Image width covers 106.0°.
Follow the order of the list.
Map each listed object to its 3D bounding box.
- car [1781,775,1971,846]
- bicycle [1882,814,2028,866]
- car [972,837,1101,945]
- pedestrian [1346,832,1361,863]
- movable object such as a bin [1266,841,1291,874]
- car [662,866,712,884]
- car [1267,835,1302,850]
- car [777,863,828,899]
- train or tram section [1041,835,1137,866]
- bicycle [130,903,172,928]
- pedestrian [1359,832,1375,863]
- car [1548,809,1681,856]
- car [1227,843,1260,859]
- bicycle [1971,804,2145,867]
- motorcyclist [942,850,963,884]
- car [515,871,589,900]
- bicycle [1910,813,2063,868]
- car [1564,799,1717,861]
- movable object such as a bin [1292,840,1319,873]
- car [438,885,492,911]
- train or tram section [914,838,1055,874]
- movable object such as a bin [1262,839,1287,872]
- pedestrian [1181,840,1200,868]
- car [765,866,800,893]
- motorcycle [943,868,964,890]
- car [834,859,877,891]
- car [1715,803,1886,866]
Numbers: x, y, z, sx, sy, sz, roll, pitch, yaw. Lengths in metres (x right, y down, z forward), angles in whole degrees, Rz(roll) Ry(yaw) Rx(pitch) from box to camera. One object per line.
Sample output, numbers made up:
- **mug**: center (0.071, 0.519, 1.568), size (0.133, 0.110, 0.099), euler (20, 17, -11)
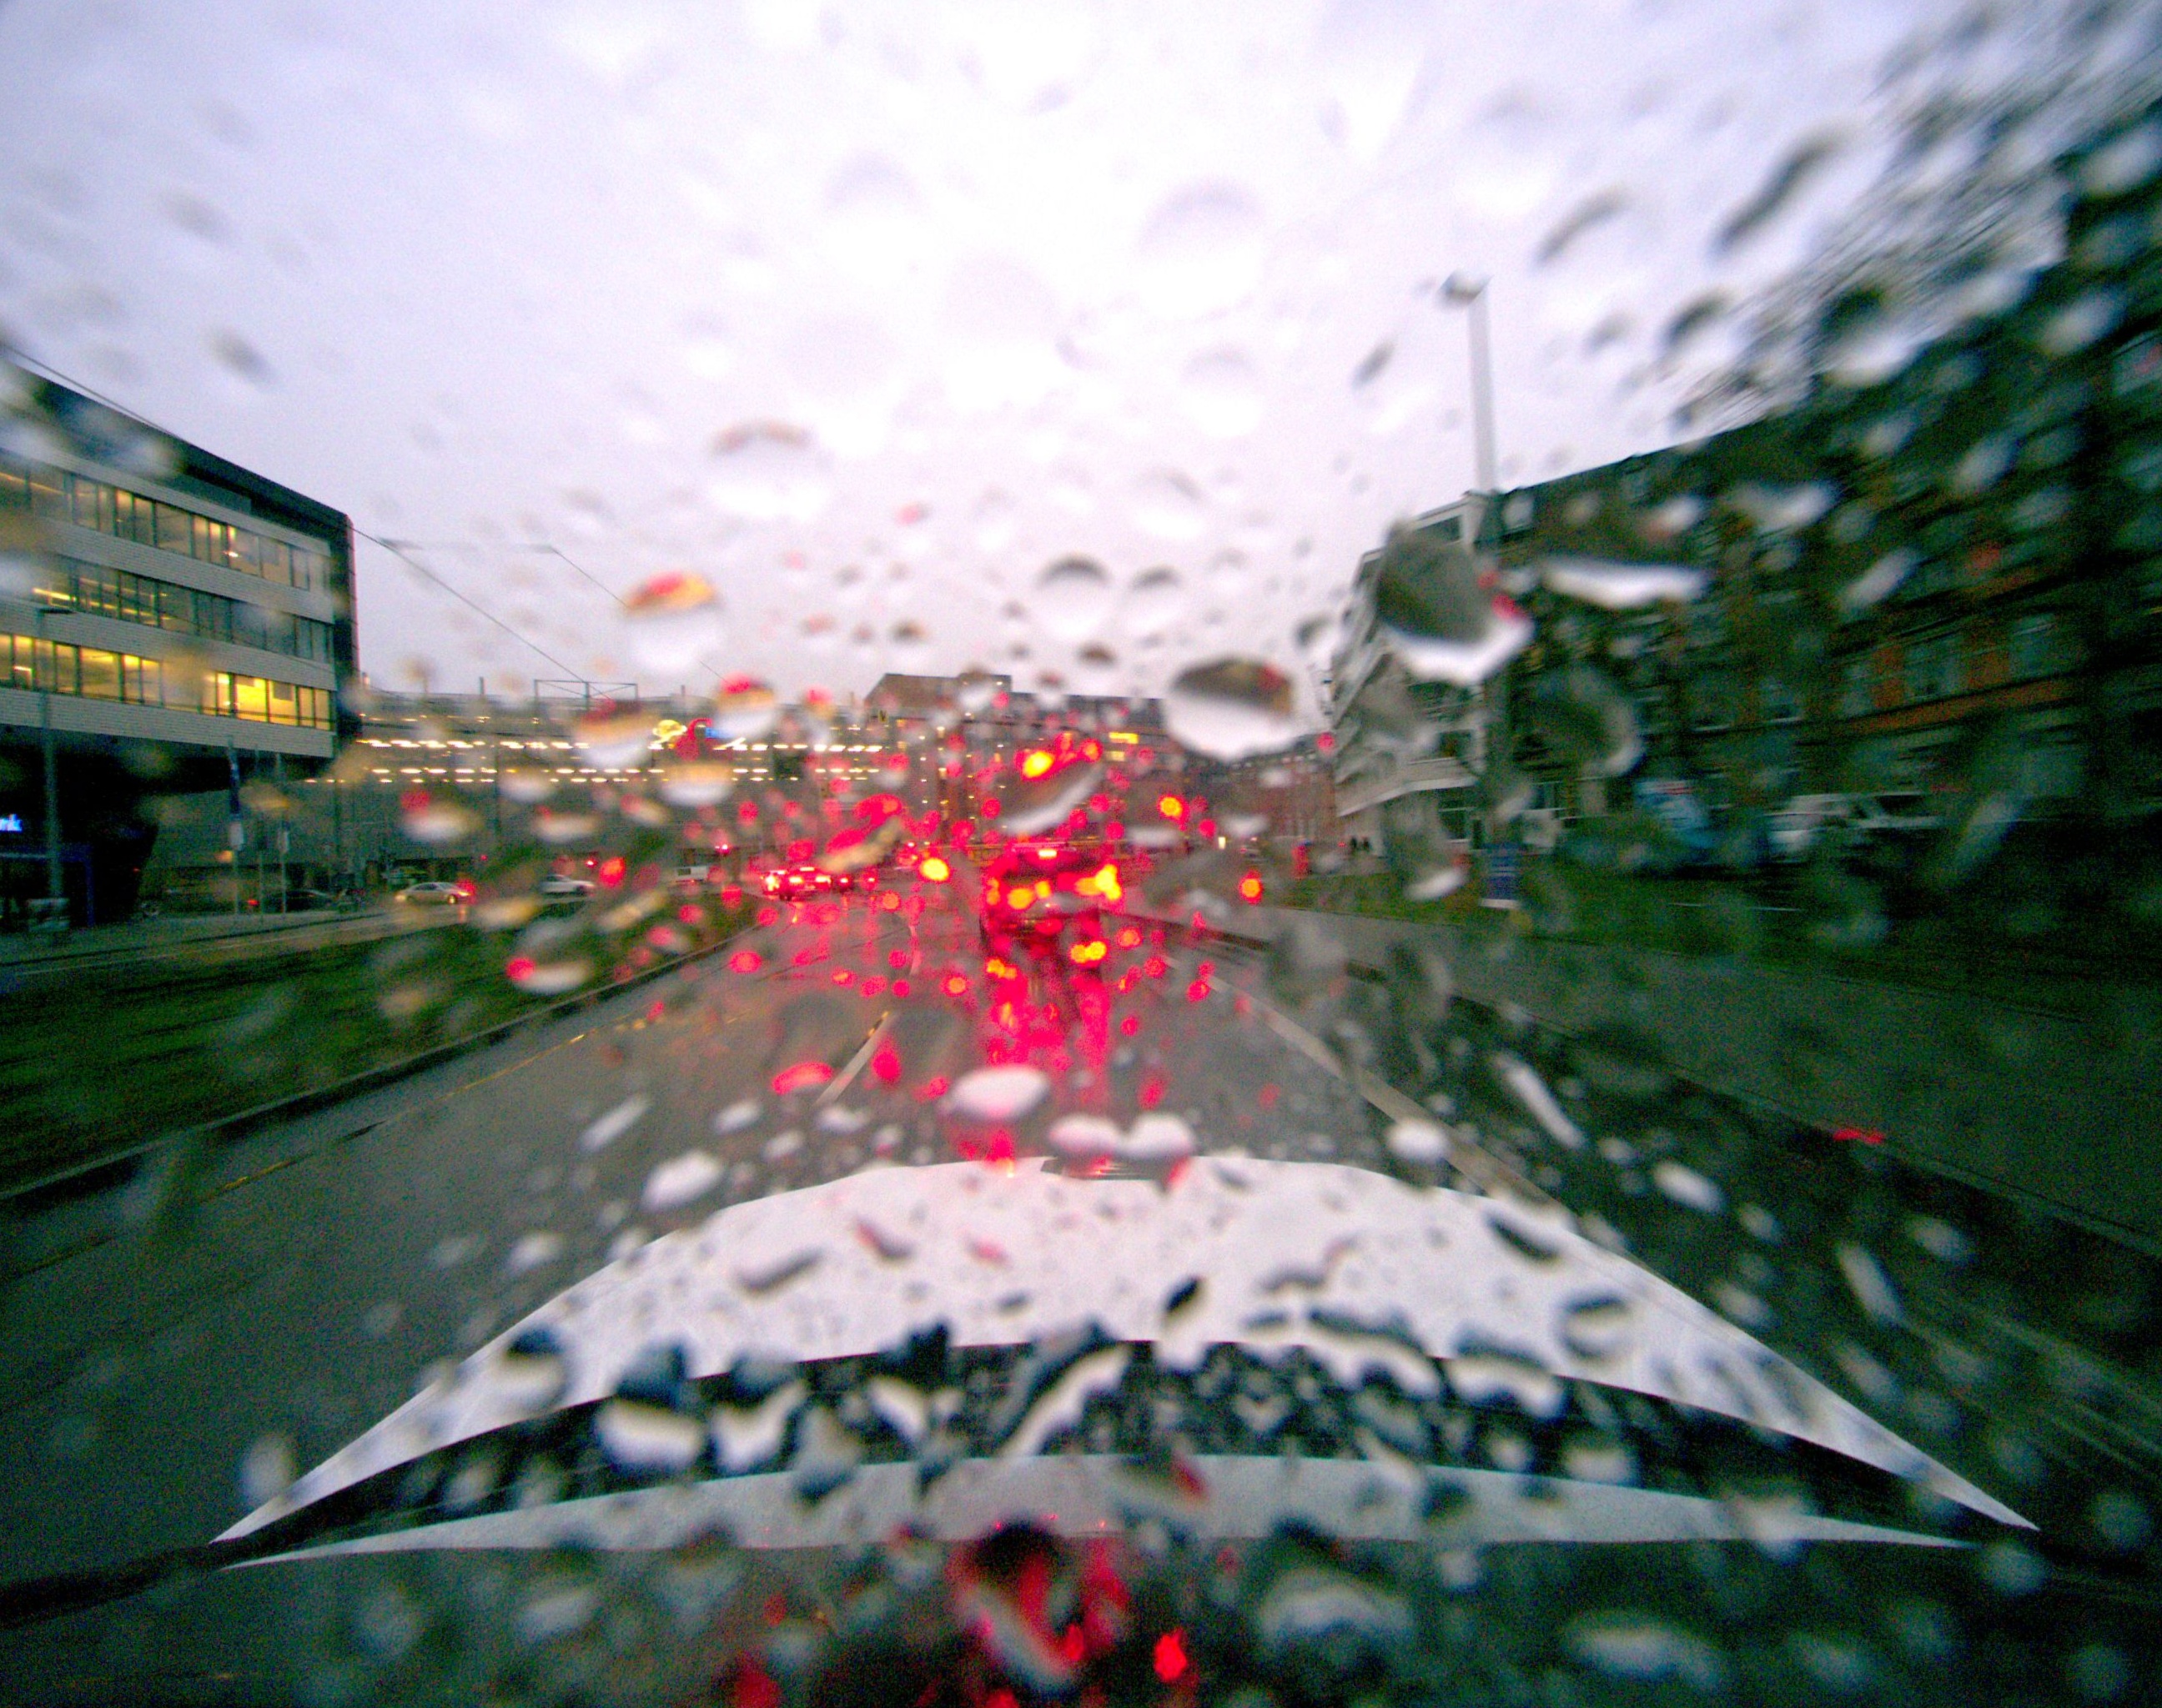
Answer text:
- **car**: center (26.941, -1.378, 27.903), size (1.983, 2.013, 4.997), euler (-4, 0, 7)
- **bicycle**: center (17.564, -0.279, 16.400), size (2.154, 0.966, 0.627), euler (-2, 2, 4)
- **car**: center (-0.996, 0.632, 15.395), size (1.737, 1.738, 4.227), euler (0, -1, -13)
- **pedestrian**: center (15.239, -0.347, 45.595), size (0.671, 1.714, 0.607), euler (-1, -1, 7)
- **movable object such as a bin**: center (9.156, 0.143, 37.766), size (1.006, 1.416, 1.229), euler (-4, 0, 15)
- **car**: center (-45.249, 2.367, 93.534), size (5.108, 1.962, 1.873), euler (0, -1, -29)
- **car**: center (28.129, -1.612, 112.336), size (4.971, 2.014, 1.978), euler (0, -1, -37)
- **car**: center (-13.631, 1.311, 39.725), size (1.762, 1.574, 3.965), euler (-3, 0, -27)
- **train or tram section**: center (1.199, -0.452, 99.884), size (13.063, 3.260, 2.310), euler (-3, 0, -38)
- **bicycle**: center (-46.248, 3.058, 40.526), size (0.555, 1.090, 1.603), euler (-3, 0, -15)
- **pedestrian**: center (15.988, -0.367, 45.523), size (0.672, 1.714, 0.631), euler (-1, -1, 7)
- **car**: center (23.462, -0.885, 35.892), size (4.687, 1.919, 2.013), euler (-1, -1, 39)
- **car**: center (21.236, -0.416, 106.503), size (4.015, 2.014, 1.979), euler (-1, -1, -33)
- **bicycle**: center (17.338, -0.323, 14.482), size (2.154, 0.966, 0.627), euler (-4, 0, 4)
- **motorcyclist**: center (-6.086, 0.603, 38.731), size (0.867, 1.534, 1.105), euler (-3, 0, -7)
- **car**: center (-38.648, 2.255, 59.669), size (4.380, 2.014, 1.982), euler (0, -1, -29)
- **bicycle**: center (17.455, -0.266, 15.739), size (2.154, 0.966, 0.627), euler (-2, 2, 4)
- **car**: center (17.527, -0.746, 25.536), size (4.001, 1.636, 1.931), euler (-4, -1, -20)
- **movable object such as a bin**: center (10.297, 0.132, 37.359), size (1.025, 1.490, 1.046), euler (-1, -1, 23)
- **car**: center (-40.269, 2.841, 53.342), size (1.830, 1.435, 4.616), euler (0, -1, -25)
- **train or tram section**: center (-10.457, 0.137, 90.985), size (16.741, 3.260, 2.310), euler (-3, 0, -38)
- **movable object such as a bin**: center (9.304, 0.060, 39.111), size (1.020, 1.495, 1.334), euler (-3, 1, 15)
- **pedestrian**: center (7.689, 0.021, 57.102), size (1.166, 1.924, 0.898), euler (-1, -1, 0)
- **car**: center (-18.521, 1.546, 50.413), size (1.892, 1.486, 3.971), euler (-3, 0, -22)
- **motorcycle**: center (-6.059, 1.161, 38.725), size (0.852, 0.971, 1.578), euler (-3, 0, -7)
- **car**: center (-12.900, 1.179, 46.411), size (1.645, 1.697, 3.638), euler (-2, -1, -27)
- **car**: center (17.620, -0.476, 19.929), size (3.865, 1.337, 1.684), euler (-3, 0, -25)
